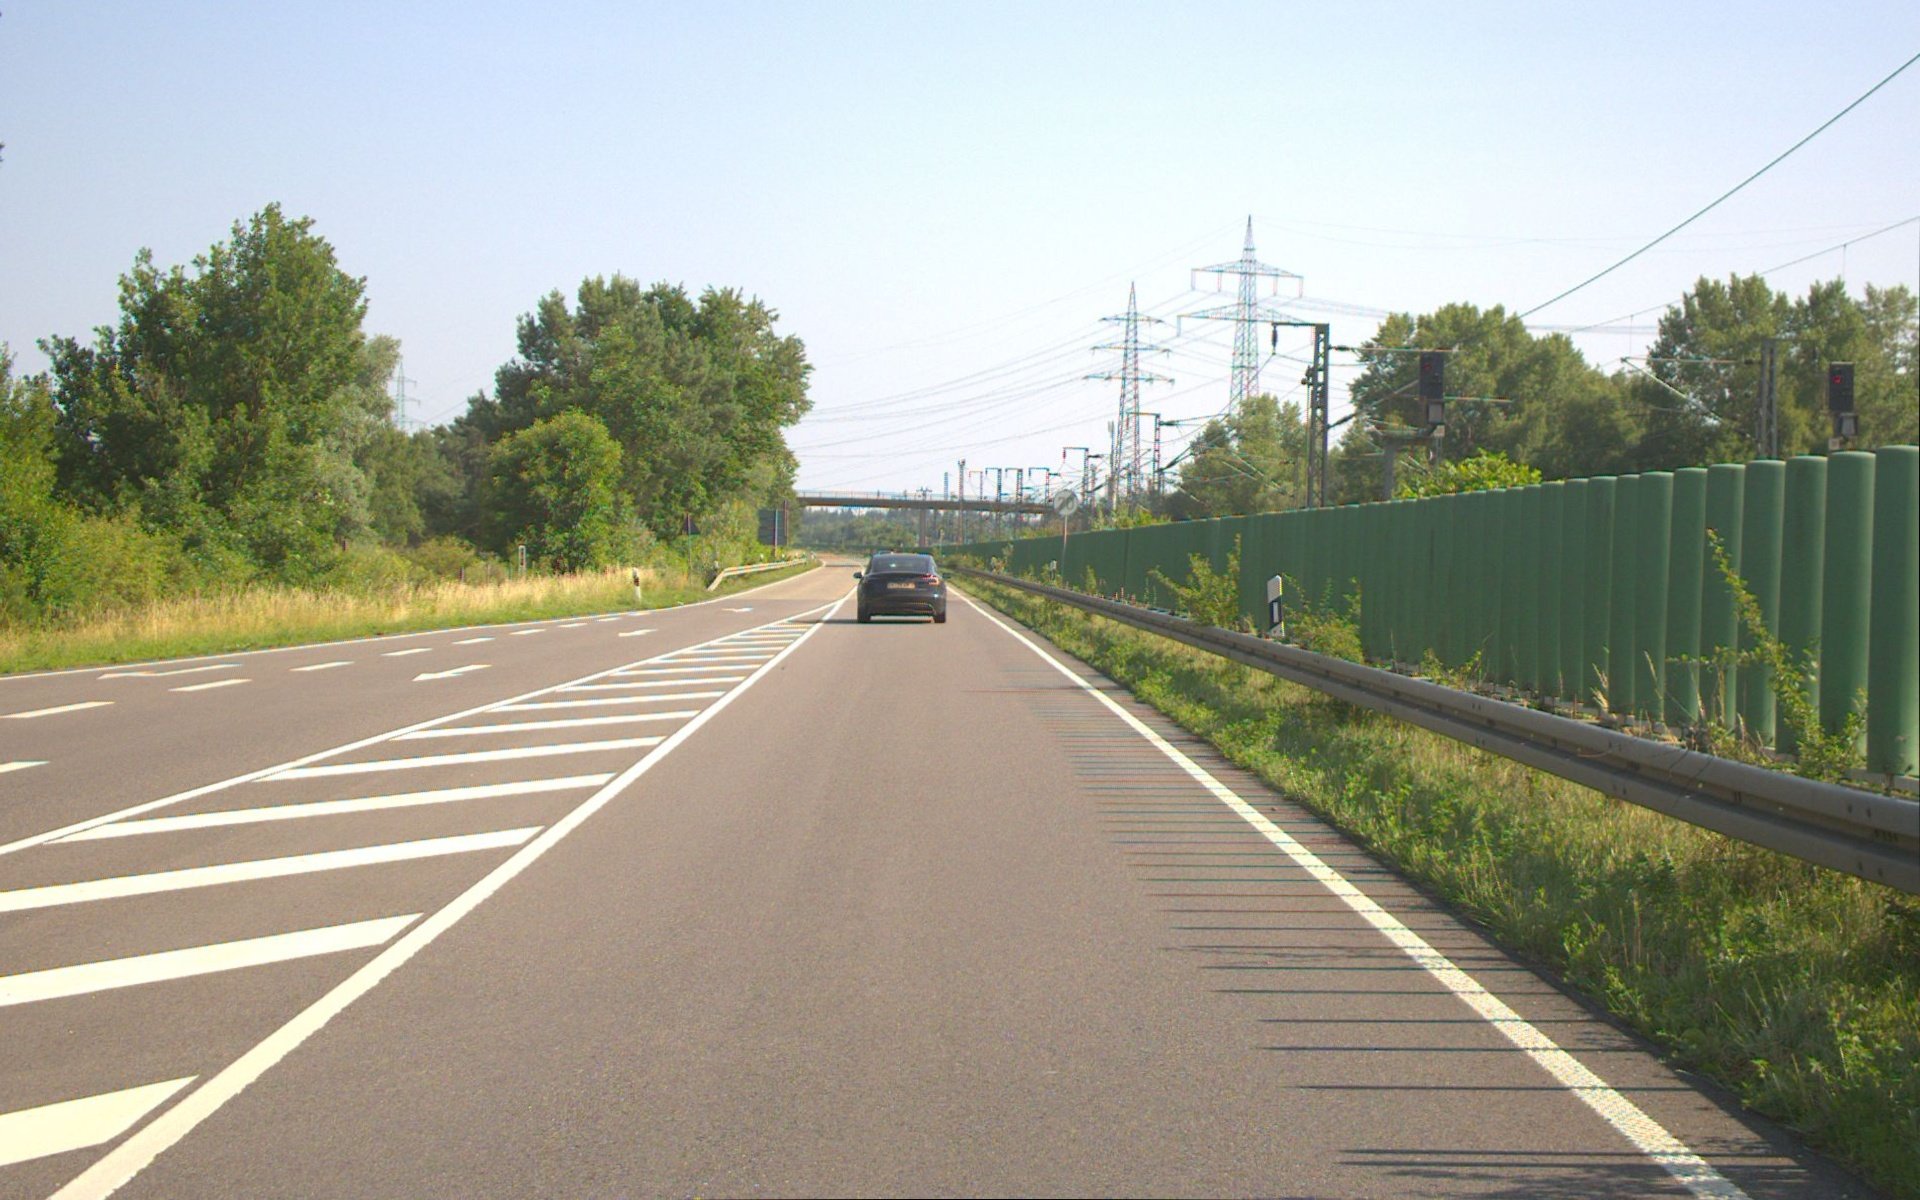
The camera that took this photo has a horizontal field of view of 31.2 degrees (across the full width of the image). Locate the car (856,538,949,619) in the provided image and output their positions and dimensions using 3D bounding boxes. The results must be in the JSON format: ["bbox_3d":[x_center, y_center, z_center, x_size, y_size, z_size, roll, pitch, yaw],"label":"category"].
[{"bbox_3d":[-1.175,-0.465,71.862,1.858,1.636,4.000,-1,1,0],"label":"car"}]
